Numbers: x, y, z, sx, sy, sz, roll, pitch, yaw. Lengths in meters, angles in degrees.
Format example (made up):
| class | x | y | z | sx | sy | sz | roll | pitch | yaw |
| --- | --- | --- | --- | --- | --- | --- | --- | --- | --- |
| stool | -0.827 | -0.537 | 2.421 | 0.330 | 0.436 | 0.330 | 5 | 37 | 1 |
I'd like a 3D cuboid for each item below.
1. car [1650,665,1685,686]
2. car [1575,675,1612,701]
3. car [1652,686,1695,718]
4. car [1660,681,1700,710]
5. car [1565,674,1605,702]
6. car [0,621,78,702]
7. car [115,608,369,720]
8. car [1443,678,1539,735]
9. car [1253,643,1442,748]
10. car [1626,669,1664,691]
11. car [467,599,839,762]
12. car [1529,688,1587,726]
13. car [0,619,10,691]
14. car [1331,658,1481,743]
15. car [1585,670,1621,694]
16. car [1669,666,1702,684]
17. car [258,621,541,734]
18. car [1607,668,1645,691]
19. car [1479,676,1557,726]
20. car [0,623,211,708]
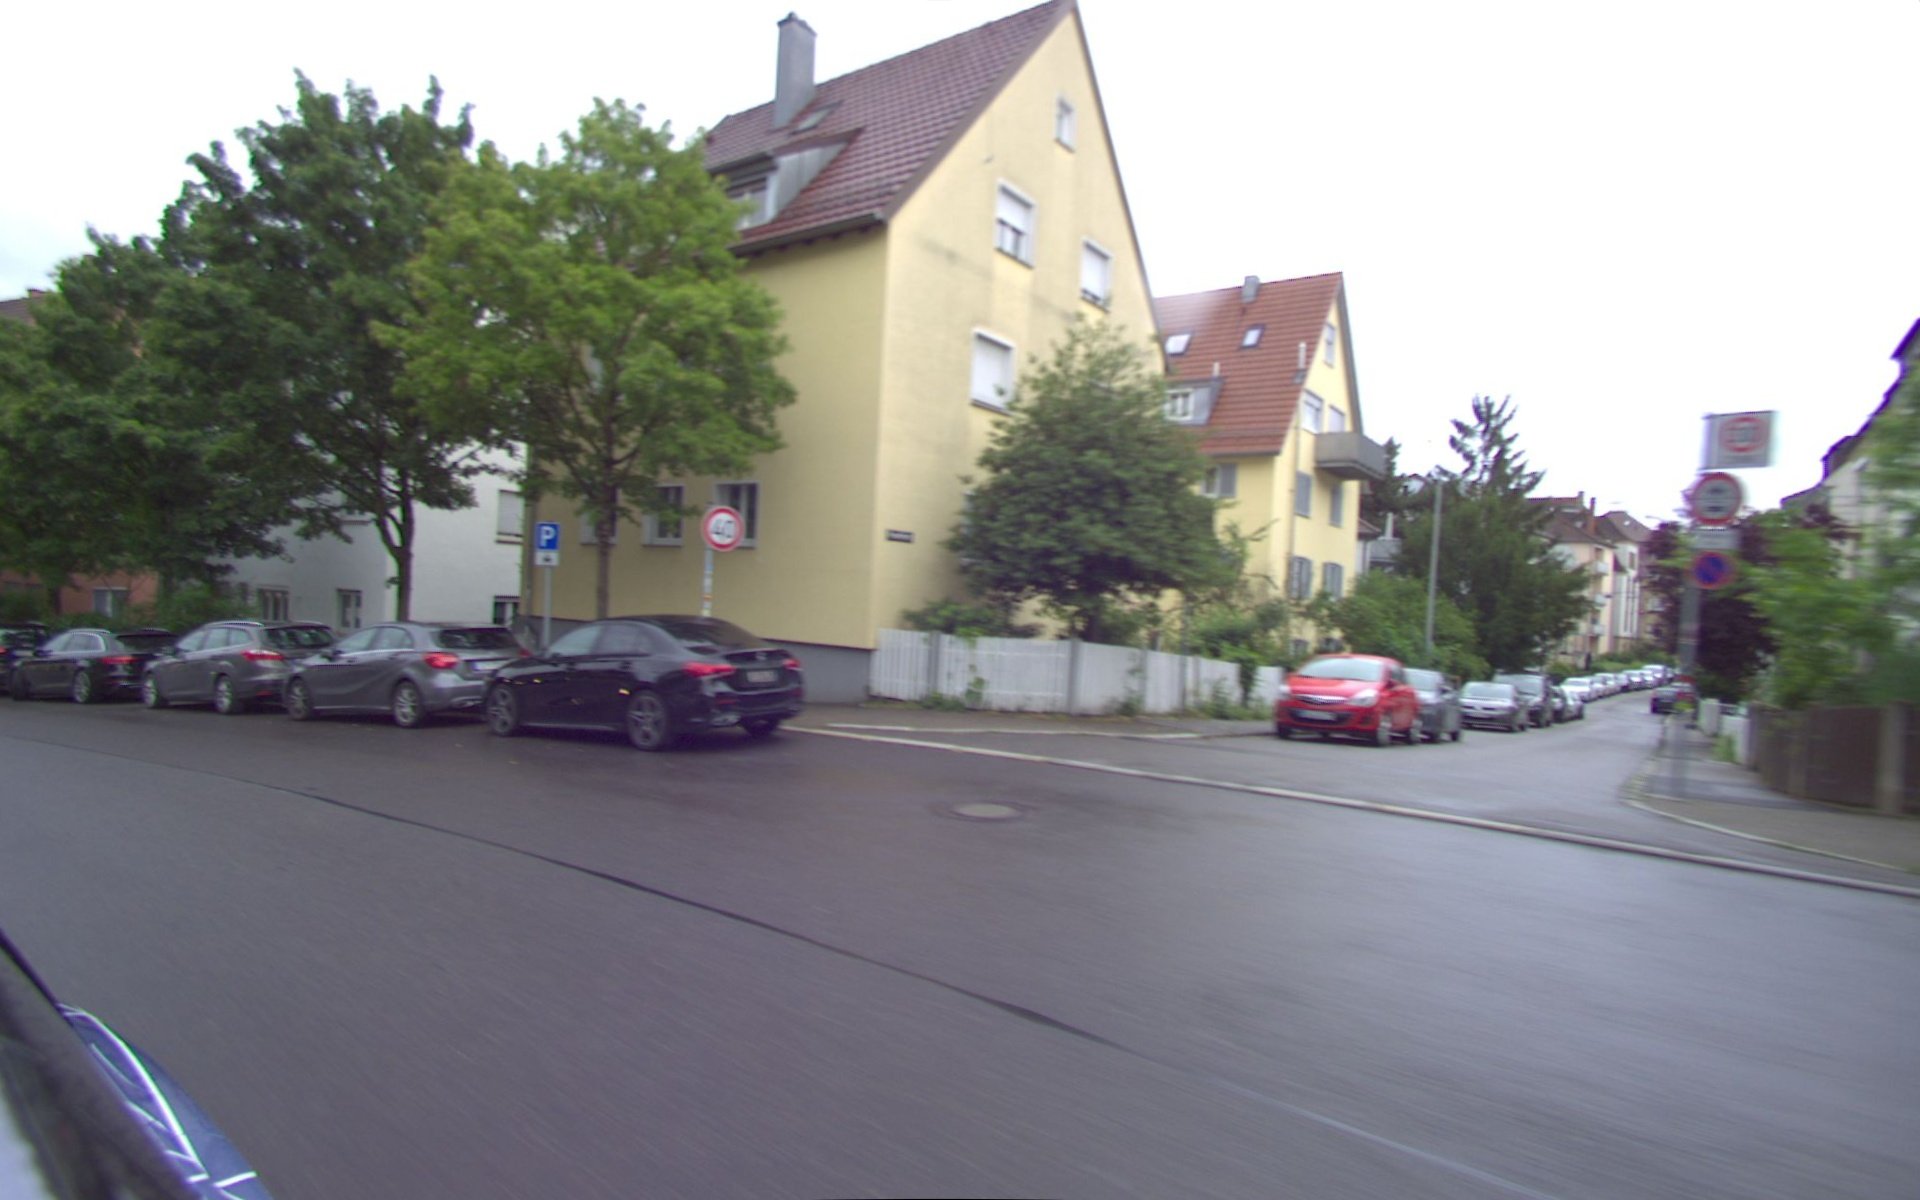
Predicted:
| class | x | y | z | sx | sy | sz | roll | pitch | yaw |
| --- | --- | --- | --- | --- | --- | --- | --- | --- | --- |
| car | 64.659 | 6.914 | 92.475 | 2.001 | 1.543 | 3.942 | -1 | -7 | 44 |
| car | 44.746 | 6.225 | 71.451 | 1.996 | 1.543 | 3.951 | 0 | -6 | 36 |
| car | 43.272 | 6.128 | 61.318 | 1.997 | 1.630 | 3.950 | -2 | -2 | 37 |
| car | 47.443 | 6.253 | 66.657 | 1.997 | 1.630 | 3.950 | -2 | -2 | 37 |
| car | 41.508 | 5.870 | 67.204 | 1.996 | 1.543 | 3.951 | 0 | -6 | 36 |
| car | -21.811 | 1.347 | 22.601 | 4.570 | 1.680 | 1.841 | -1 | -1 | 30 |
| car | -12.327 | 1.045 | 17.322 | 4.537 | 1.703 | 1.841 | -1 | -3 | 30 |
| car | 15.980 | 3.221 | 30.365 | 1.996 | 1.455 | 3.951 | 0 | -6 | 36 |
| car | 6.591 | 1.636 | 16.957 | 1.996 | 1.455 | 3.951 | 0 | -6 | 36 |
| car | 57.310 | 6.690 | 84.658 | 2.001 | 1.543 | 3.942 | -1 | -7 | 44 |
| car | -3.664 | 0.802 | 11.703 | 4.507 | 1.552 | 1.759 | -1 | 0 | 36 |
| car | 28.405 | 5.089 | 47.994 | 1.996 | 1.543 | 3.951 | 0 | -6 | 36 |
| car | -26.343 | 1.403 | 25.676 | 4.459 | 1.790 | 1.843 | -1 | -2 | 27 |
| car | 9.176 | 2.083 | 20.628 | 1.996 | 1.455 | 3.951 | 0 | -6 | 36 |
| car | 47.439 | 6.056 | 74.640 | 1.996 | 1.543 | 3.951 | 0 | -6 | 36 |
| car | 71.596 | 7.410 | 99.820 | 3.941 | 1.543 | 2.001 | 9 | -7 | -44 |
| car | -8.108 | 1.039 | 14.538 | 4.305 | 1.407 | 1.603 | -2 | -2 | 30 |
| car | 53.663 | 6.433 | 81.481 | 2.000 | 1.543 | 3.944 | 0 | -7 | 42 |
| car | 20.239 | 3.686 | 36.618 | 1.996 | 1.543 | 3.951 | 0 | -6 | 36 |
| car | -17.238 | 1.263 | 20.165 | 4.717 | 1.510 | 1.843 | -2 | -2 | 27 |
